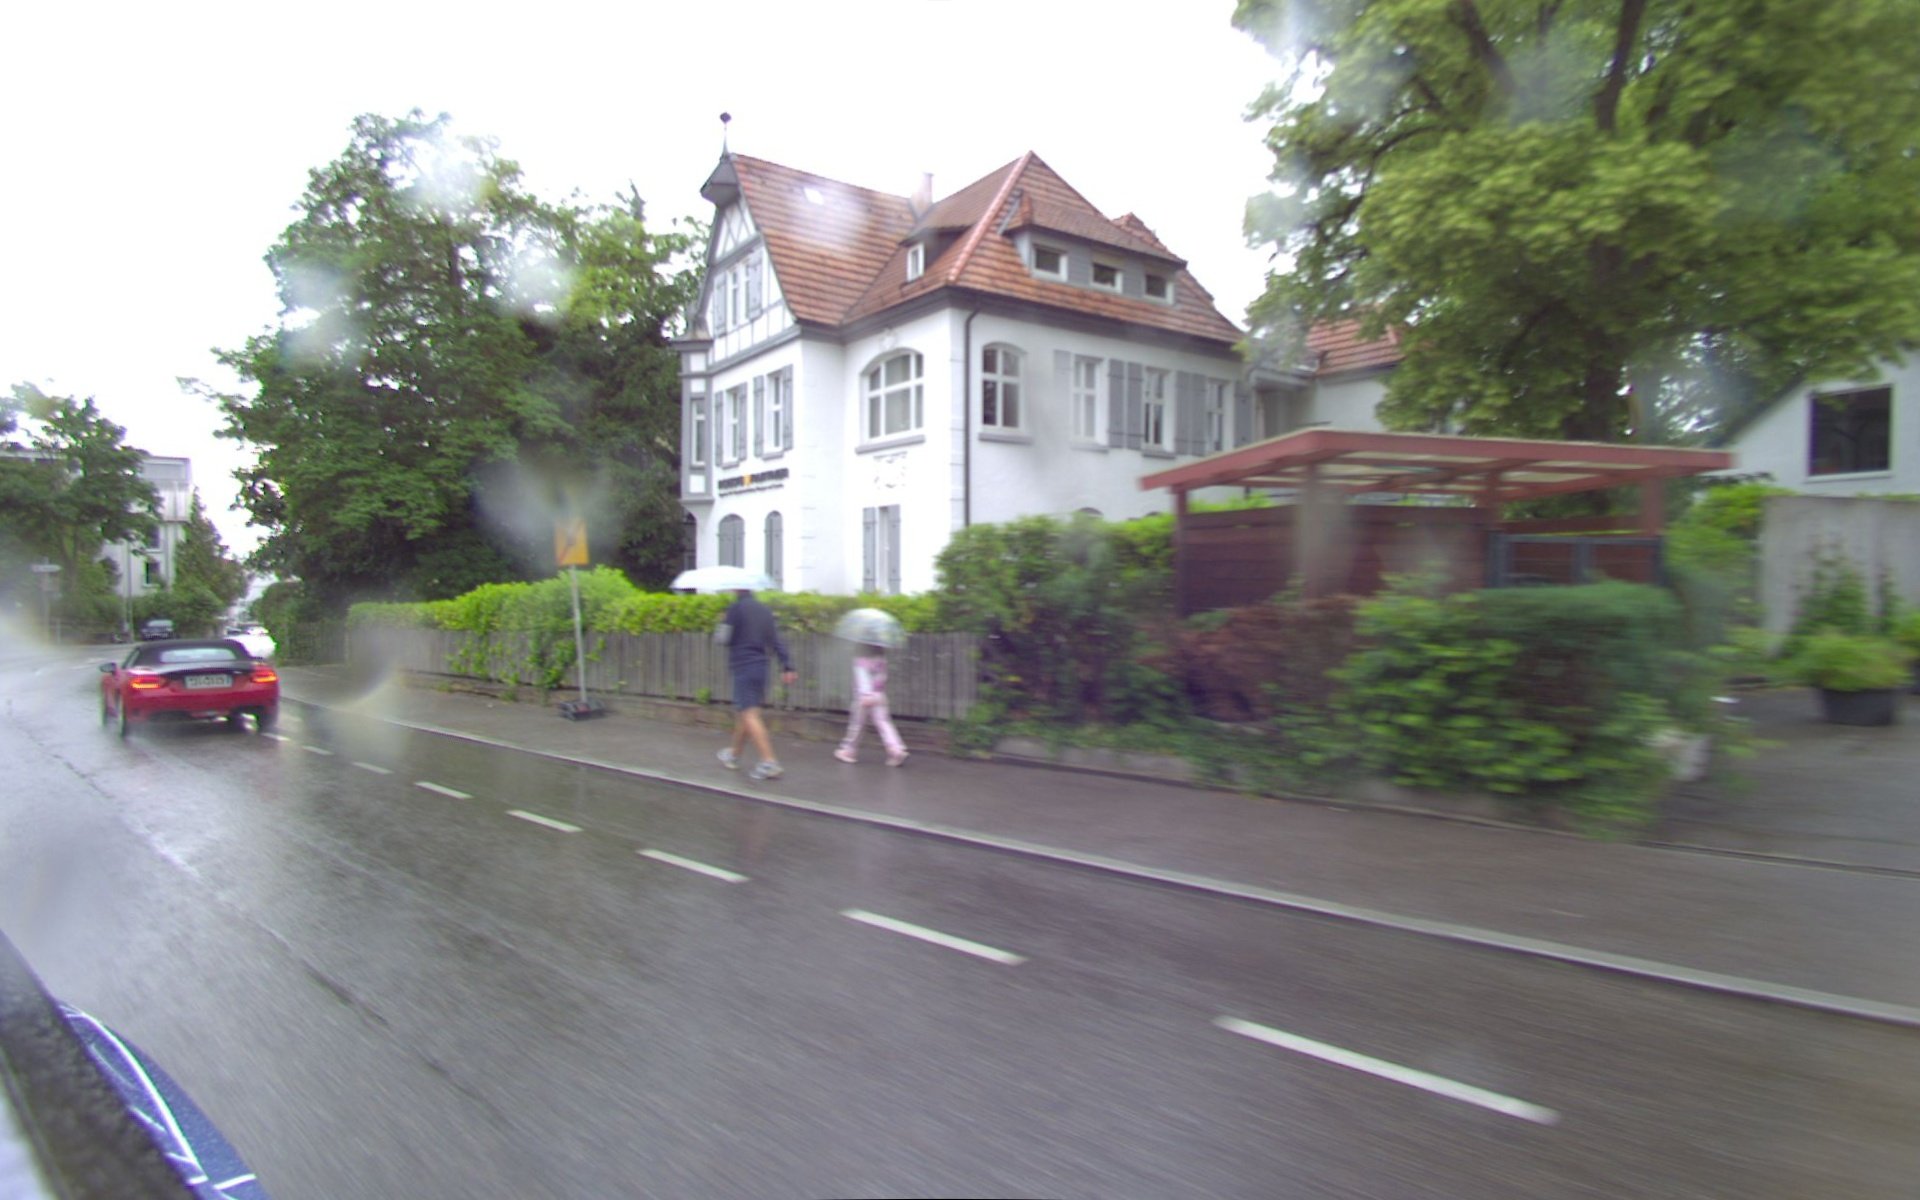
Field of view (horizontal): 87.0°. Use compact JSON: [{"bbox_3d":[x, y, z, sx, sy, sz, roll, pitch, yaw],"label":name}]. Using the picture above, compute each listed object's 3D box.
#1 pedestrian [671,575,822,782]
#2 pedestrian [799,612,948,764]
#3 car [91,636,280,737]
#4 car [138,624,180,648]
[{"bbox_3d":[-1.867,0.643,8.825,1.040,1.656,0.747,-2,2,44],"label":"pedestrian"},{"bbox_3d":[-0.766,0.733,8.891,1.040,1.188,0.747,-2,2,44],"label":"pedestrian"},{"bbox_3d":[-10.997,1.122,14.271,1.659,1.155,4.003,0,-1,-44],"label":"car"},{"bbox_3d":[-59.320,2.663,75.024,1.756,1.582,4.742,-3,0,-30],"label":"car"}]
